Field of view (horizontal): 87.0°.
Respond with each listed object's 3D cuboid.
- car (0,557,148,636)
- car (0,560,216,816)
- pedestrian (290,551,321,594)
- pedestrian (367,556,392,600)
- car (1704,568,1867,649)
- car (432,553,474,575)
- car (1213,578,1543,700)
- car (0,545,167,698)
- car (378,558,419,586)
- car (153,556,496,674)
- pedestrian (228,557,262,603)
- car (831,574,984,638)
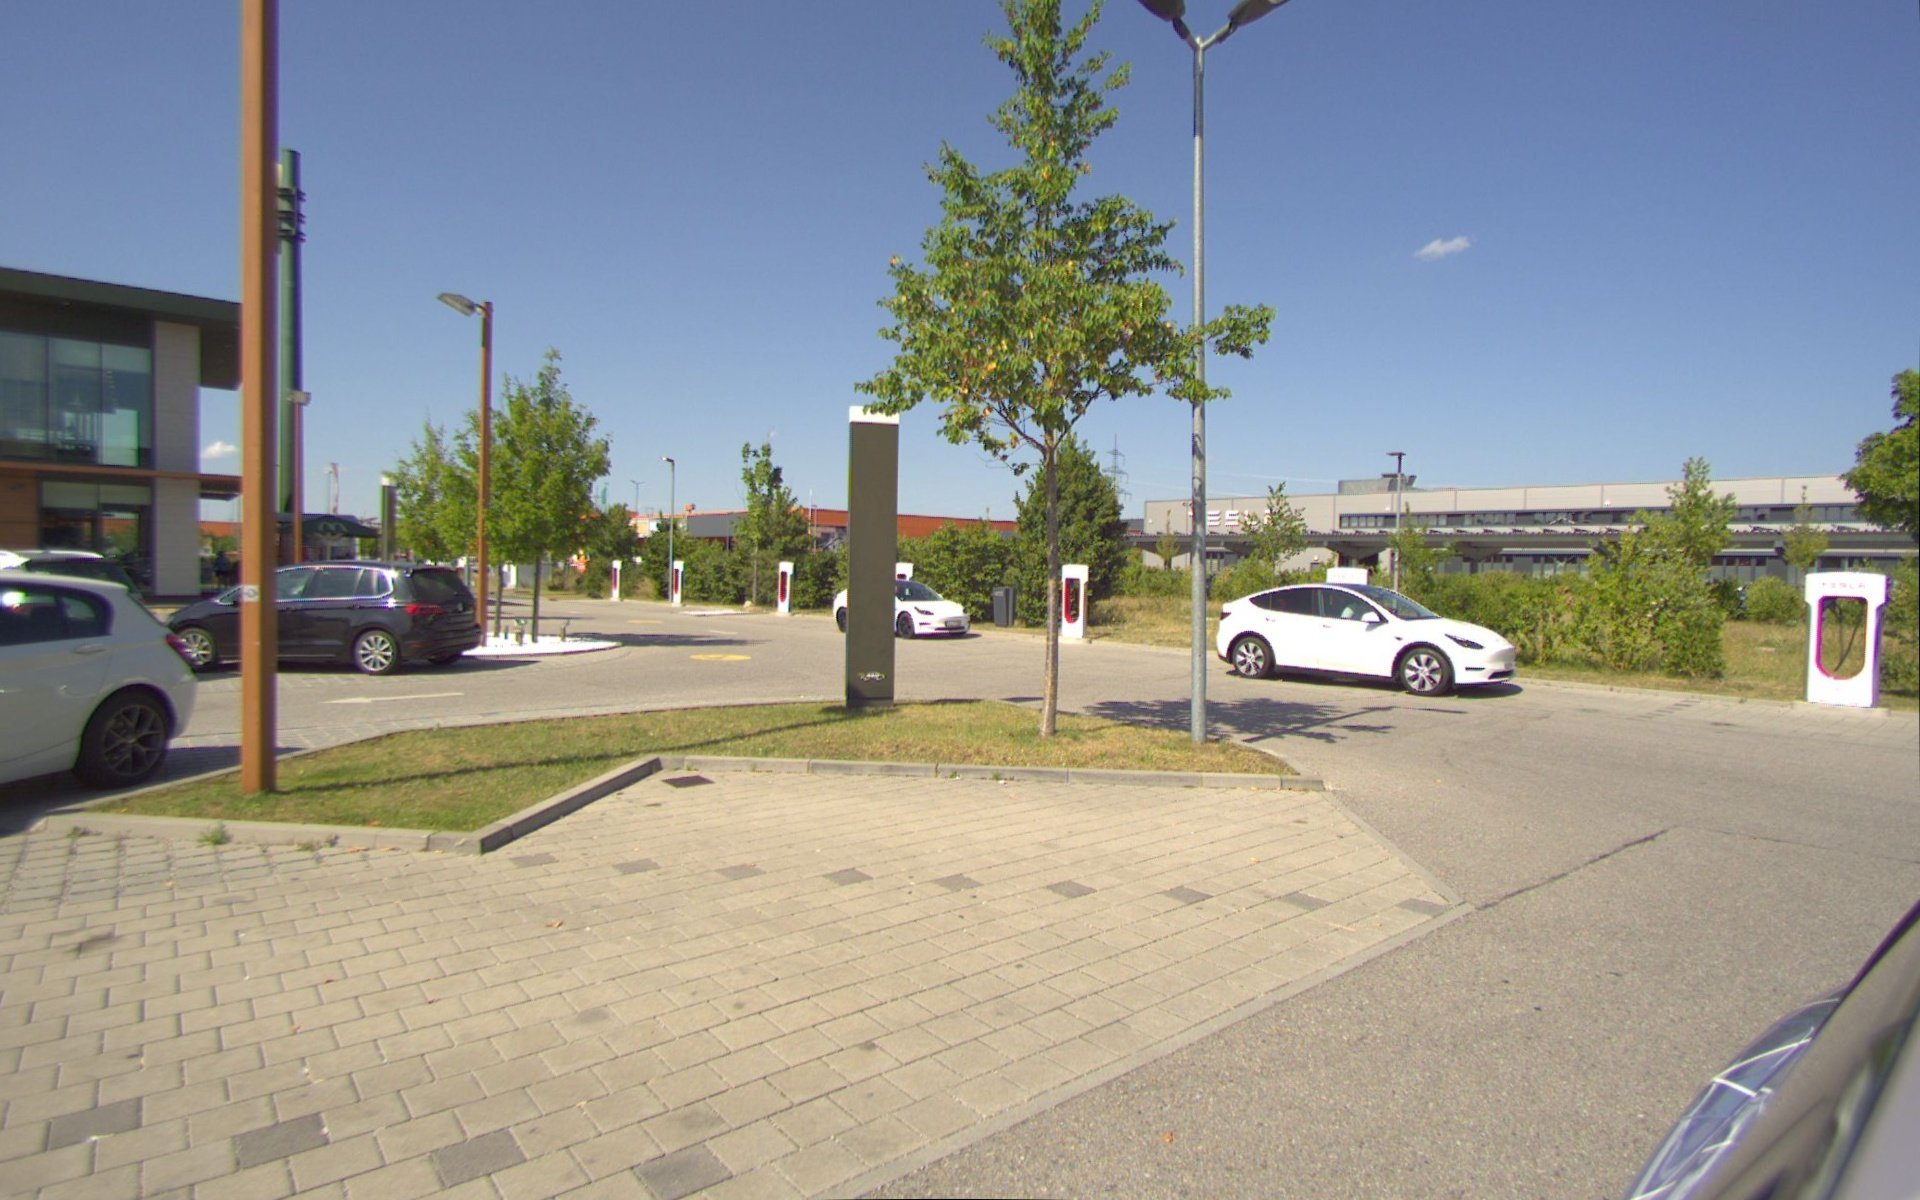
[{"bbox_3d":[-20.636,-0.108,22.547,1.686,1.633,4.032,0,1,4],"label":"car"},{"bbox_3d":[-6.540,0.509,5.390,1.940,1.478,4.204,0,1,3],"label":"car"},{"bbox_3d":[-24.707,-1.043,38.208,0.693,1.579,0.717,1,1,22],"label":"pedestrian"},{"bbox_3d":[-21.055,-0.801,36.720,0.689,1.579,0.721,0,2,-39],"label":"pedestrian"},{"bbox_3d":[19.675,0.153,24.090,4.175,1.771,1.919,0,1,-35],"label":"car"},{"bbox_3d":[-57.083,-4.034,113.946,3.932,2.331,1.996,-1,1,-43],"label":"car"},{"bbox_3d":[6.519,0.494,16.229,1.811,1.612,4.569,0,2,-42],"label":"car"},{"bbox_3d":[-12.264,0.188,12.303,4.044,1.695,1.811,1,2,7],"label":"car"},{"bbox_3d":[-33.230,-1.628,59.846,1.731,1.581,3.883,0,1,-36],"label":"car"},{"bbox_3d":[-9.033,0.177,14.585,3.927,1.571,1.753,1,1,3],"label":"car"},{"bbox_3d":[-24.733,-0.701,34.995,0.693,1.579,0.717,1,1,22],"label":"pedestrian"},{"bbox_3d":[-1.453,0.090,26.428,1.809,1.497,4.330,0,2,-38],"label":"car"}]
